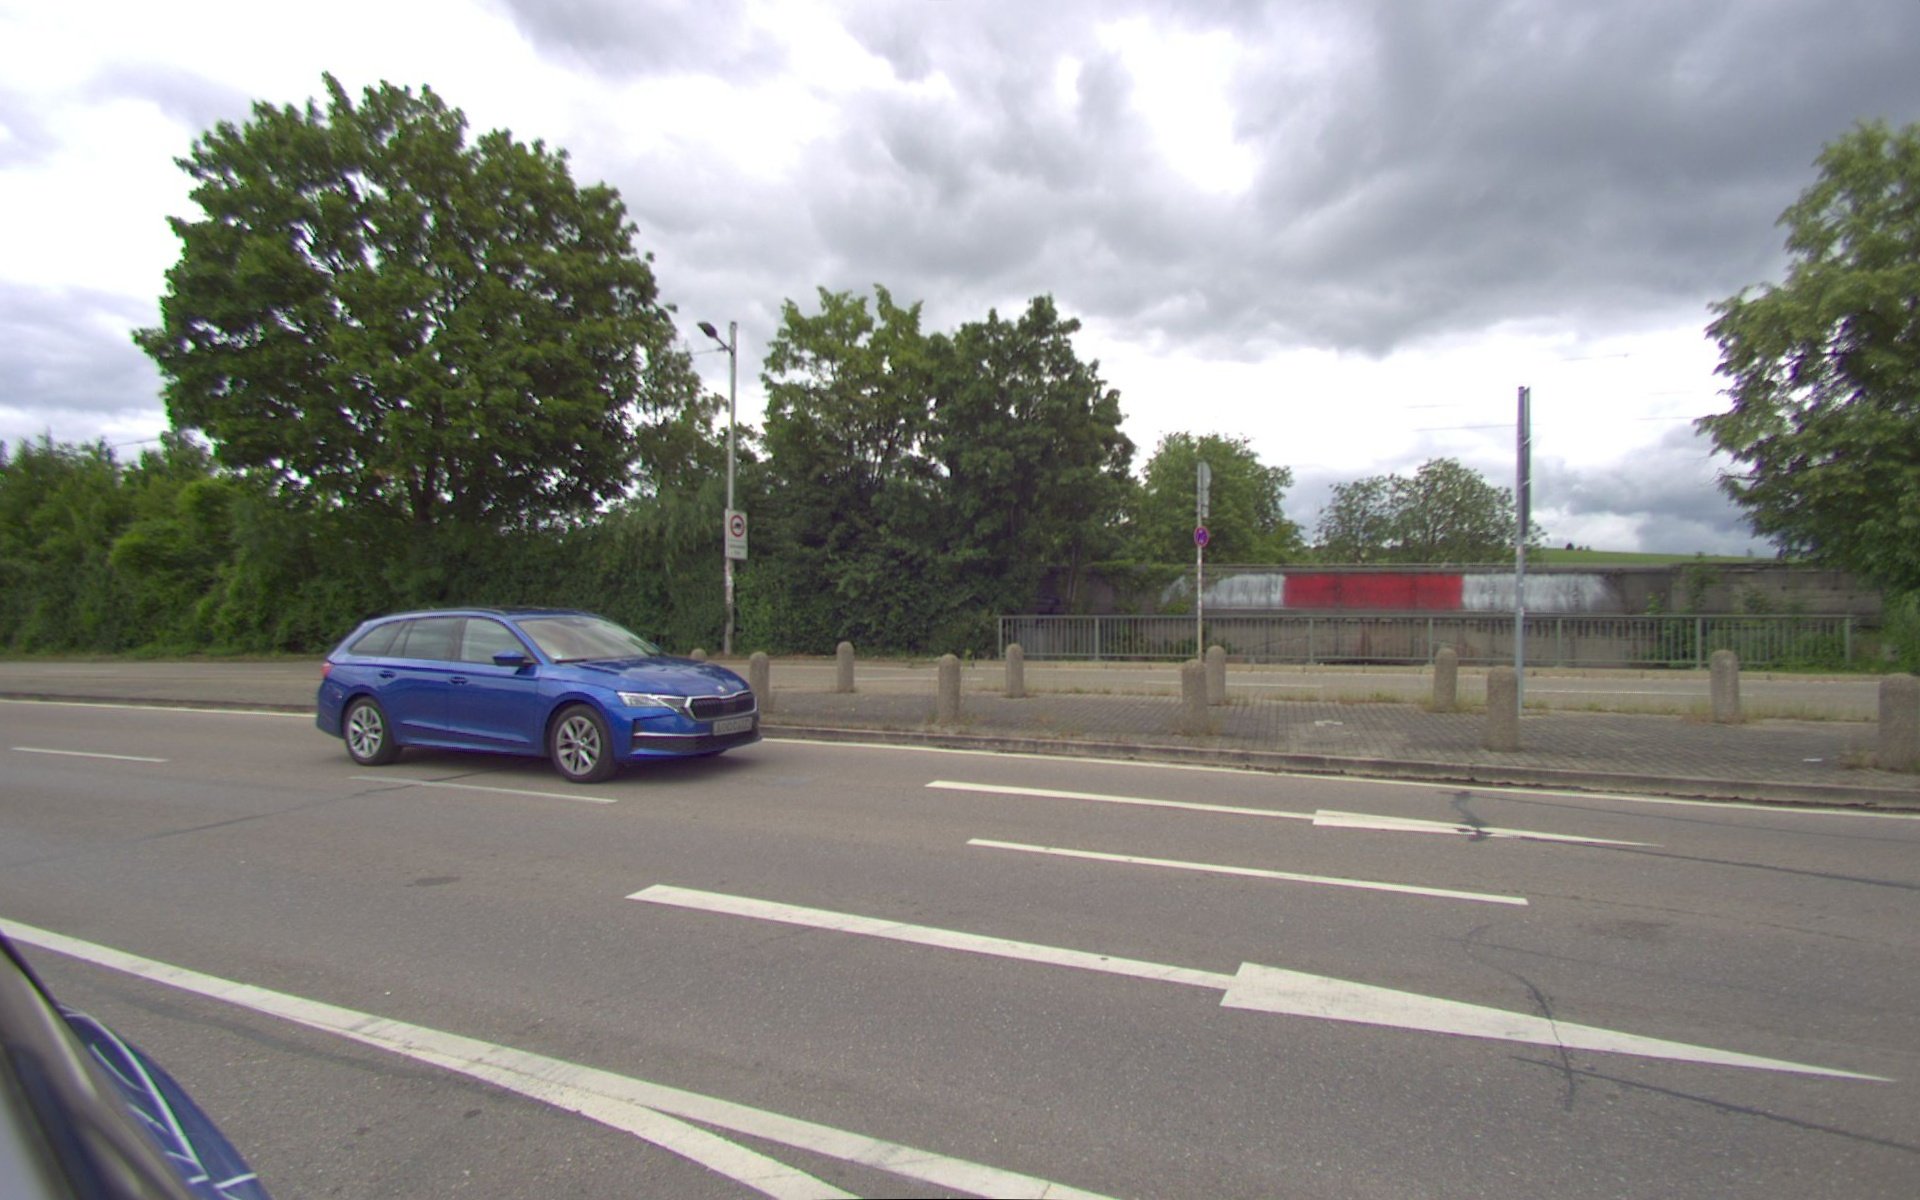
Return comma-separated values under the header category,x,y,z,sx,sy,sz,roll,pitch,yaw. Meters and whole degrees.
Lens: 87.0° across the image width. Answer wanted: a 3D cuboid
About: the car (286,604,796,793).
category,x,y,z,sx,sy,sz,roll,pitch,yaw
car,-3.955,0.793,9.474,4.553,1.427,1.828,-1,-1,25
